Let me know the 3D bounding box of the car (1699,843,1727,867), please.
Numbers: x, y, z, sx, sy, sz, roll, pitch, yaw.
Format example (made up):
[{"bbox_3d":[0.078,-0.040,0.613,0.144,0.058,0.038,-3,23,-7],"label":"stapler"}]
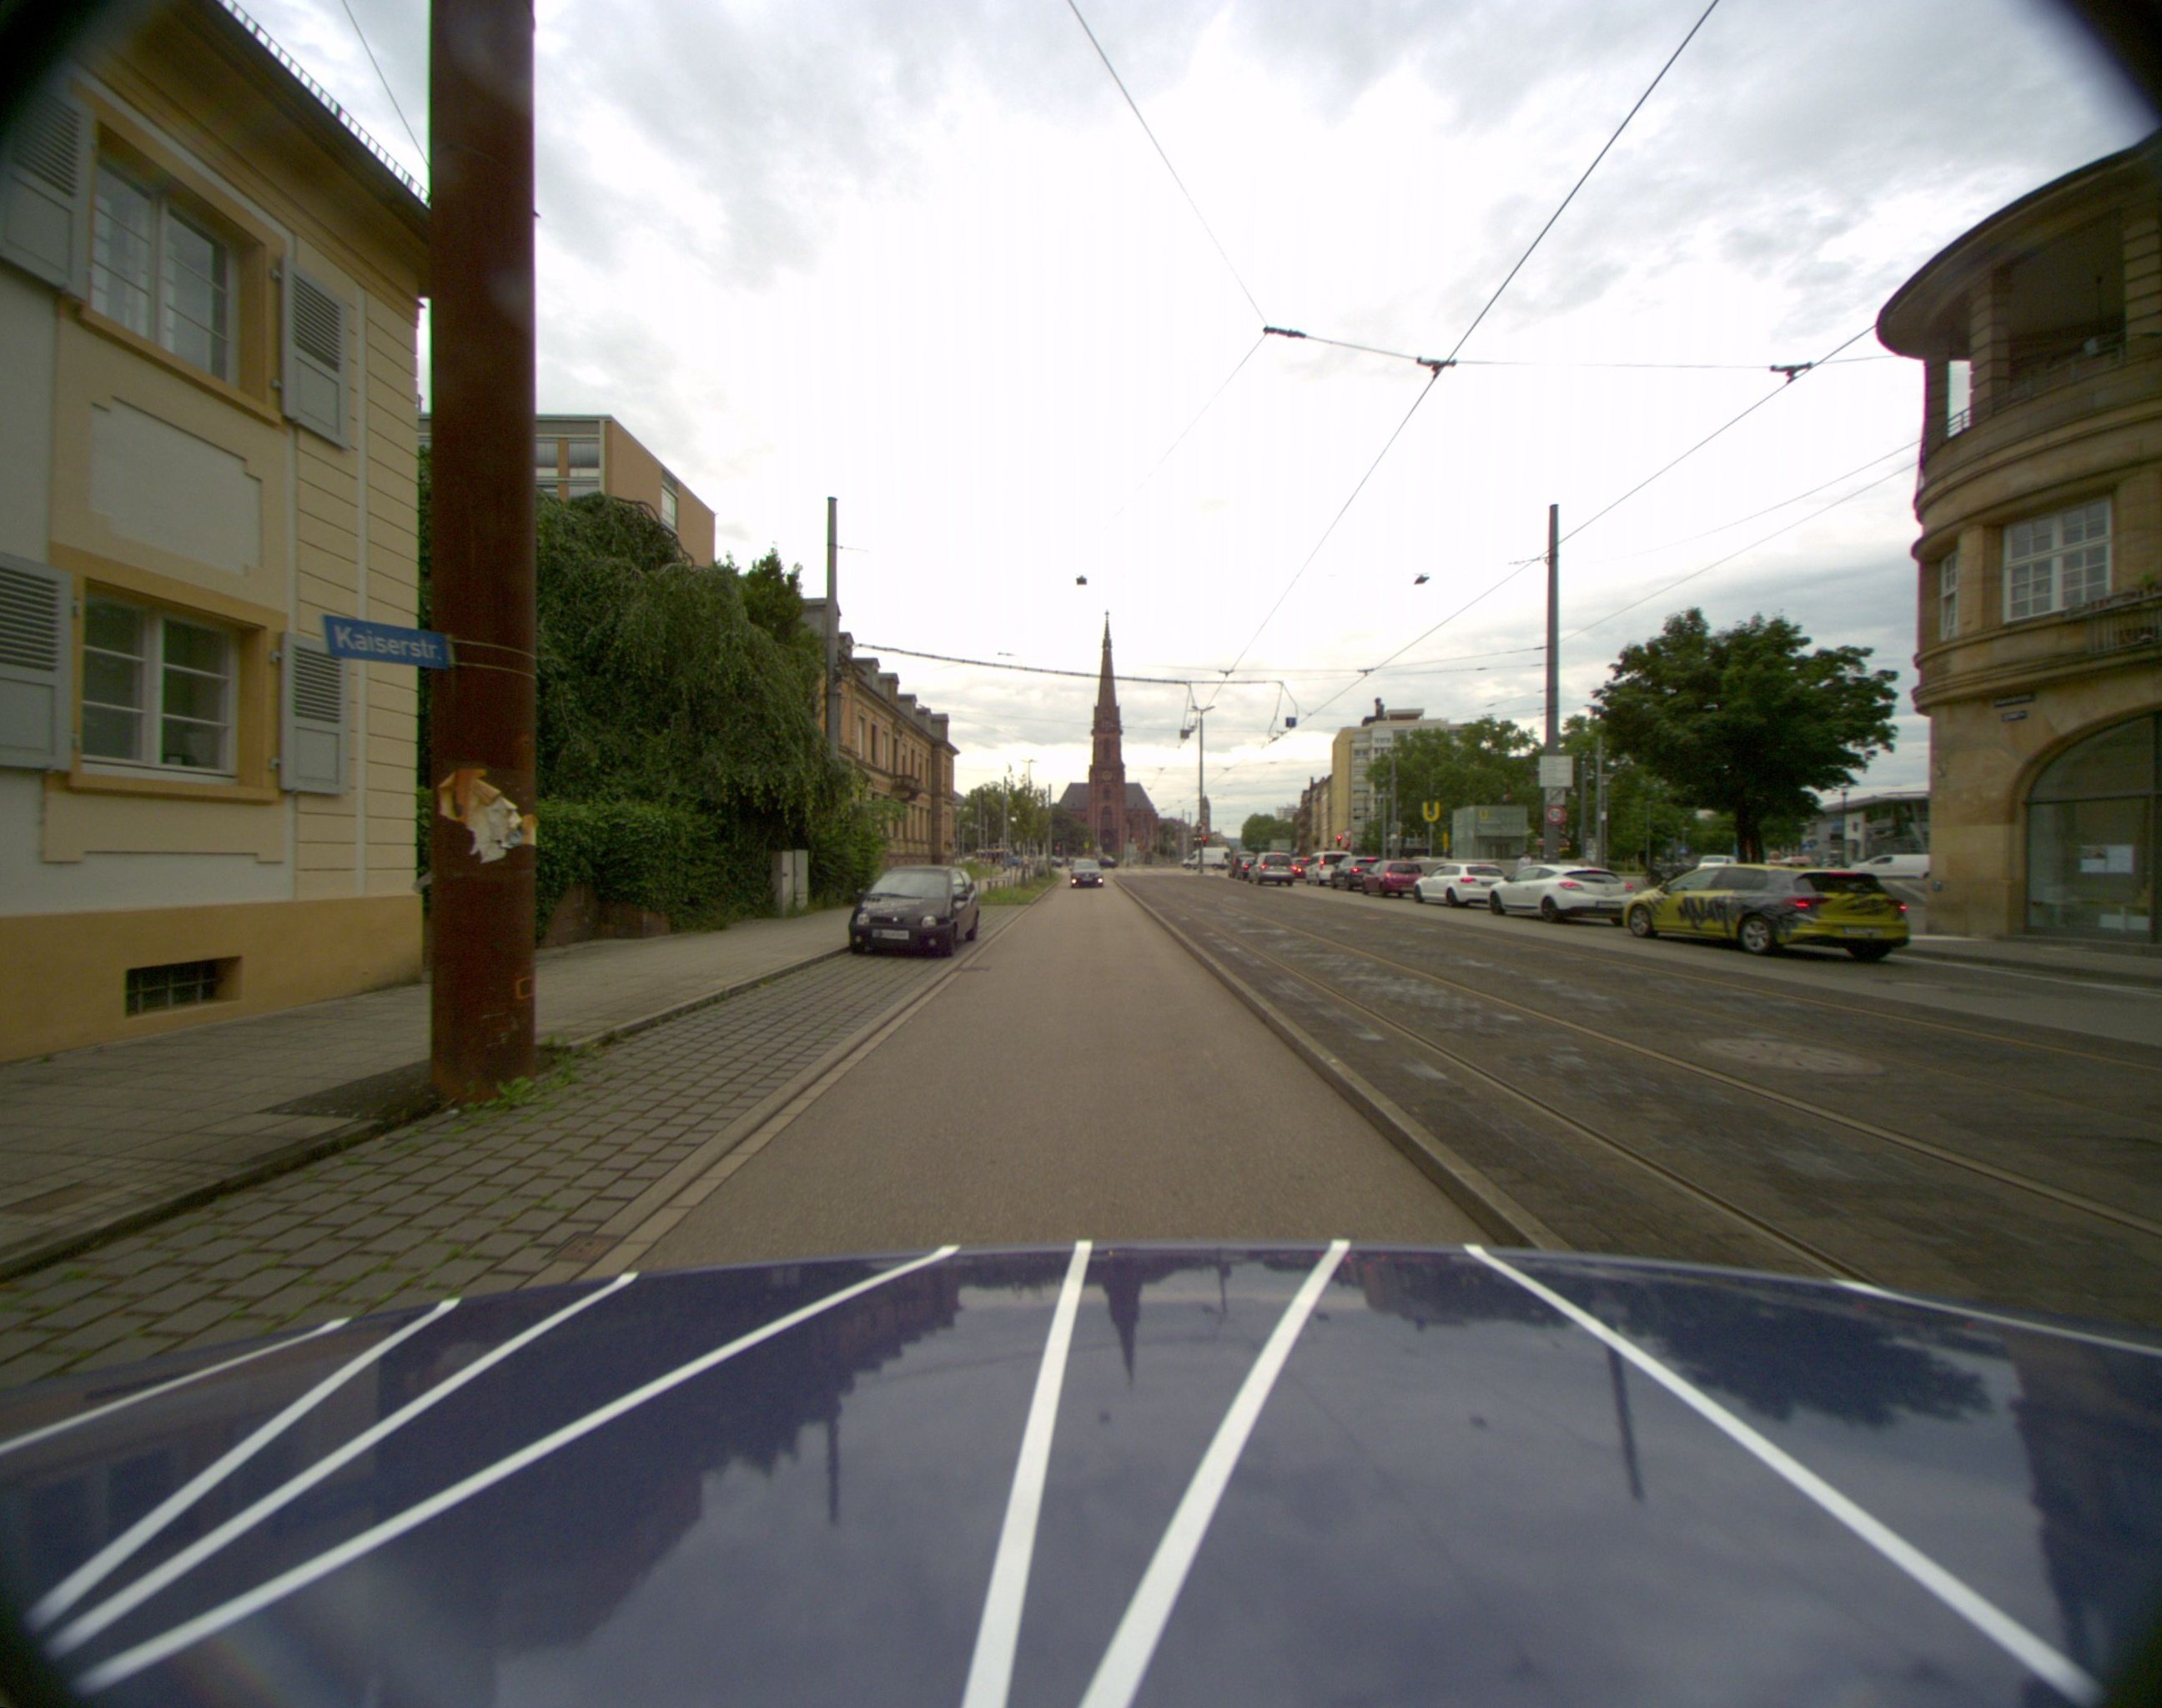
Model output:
[{"bbox_3d":[57.071,0.066,68.615,1.766,2.002,4.008,1,2,42],"label":"car"}]

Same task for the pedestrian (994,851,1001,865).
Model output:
[{"bbox_3d":[-11.701,0.532,106.161,0.782,1.932,0.980,0,0,-22],"label":"pedestrian"}]

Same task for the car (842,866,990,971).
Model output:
[{"bbox_3d":[-2.672,0.980,13.170,1.641,1.425,3.930,2,0,0],"label":"car"}]

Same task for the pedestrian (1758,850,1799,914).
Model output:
[{"bbox_3d":[19.015,0.749,20.717,0.533,1.709,0.631,0,1,-19],"label":"pedestrian"}]

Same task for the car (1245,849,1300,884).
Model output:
[{"bbox_3d":[10.239,0.633,40.997,1.867,1.696,4.909,1,0,2],"label":"car"}]

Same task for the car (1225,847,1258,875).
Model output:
[{"bbox_3d":[11.238,0.476,53.403,1.692,1.889,4.388,0,0,5],"label":"car"}]

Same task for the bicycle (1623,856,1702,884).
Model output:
[{"bbox_3d":[30.181,0.813,39.537,0.962,1.346,3.112,-1,1,-31],"label":"bicycle"}]

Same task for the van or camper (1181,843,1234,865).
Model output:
[{"bbox_3d":[15.561,-0.063,93.807,6.033,2.596,2.428,1,2,38],"label":"van or camper"}]

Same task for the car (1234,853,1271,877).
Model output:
[{"bbox_3d":[10.729,0.659,47.800,1.692,1.433,4.001,0,0,5],"label":"car"}]

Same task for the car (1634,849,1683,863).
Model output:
[{"bbox_3d":[58.705,0.170,77.299,1.644,1.412,3.727,0,0,-42],"label":"car"}]

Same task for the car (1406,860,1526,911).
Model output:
[{"bbox_3d":[12.353,0.952,24.741,1.751,1.372,4.362,3,0,2],"label":"car"}]

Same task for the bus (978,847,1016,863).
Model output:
[{"bbox_3d":[-16.590,0.159,149.013,2.869,3.060,11.989,-1,1,-31],"label":"bus"}]

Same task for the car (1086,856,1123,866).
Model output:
[{"bbox_3d":[3.174,0.912,102.303,4.649,1.412,2.004,0,0,32],"label":"car"}]

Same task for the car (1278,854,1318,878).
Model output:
[{"bbox_3d":[13.669,0.751,48.133,1.692,1.433,4.001,0,0,5],"label":"car"}]

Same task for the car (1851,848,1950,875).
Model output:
[{"bbox_3d":[58.491,0.530,54.294,2.004,1.828,4.511,0,0,-33],"label":"car"}]

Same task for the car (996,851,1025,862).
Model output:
[{"bbox_3d":[-10.573,0.404,113.363,4.047,1.483,2.005,-3,-5,41],"label":"car"}]

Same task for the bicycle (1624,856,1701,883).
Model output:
[{"bbox_3d":[31.089,0.787,40.708,0.962,1.346,3.112,-1,1,-31],"label":"bicycle"}]

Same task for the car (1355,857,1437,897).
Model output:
[{"bbox_3d":[12.443,0.875,30.279,1.867,1.391,3.896,2,0,4],"label":"car"}]

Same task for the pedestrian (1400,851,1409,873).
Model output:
[{"bbox_3d":[25.387,0.636,59.698,0.601,1.718,0.914,0,0,26],"label":"pedestrian"}]

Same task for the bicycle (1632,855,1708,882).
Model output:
[{"bbox_3d":[32.124,0.766,41.522,0.962,1.346,3.112,-1,1,-31],"label":"bicycle"}]

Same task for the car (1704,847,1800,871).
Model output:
[{"bbox_3d":[53.733,0.398,60.972,2.168,1.845,5.433,0,0,-35],"label":"car"}]

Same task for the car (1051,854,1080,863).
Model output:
[{"bbox_3d":[-2.188,0.636,107.830,3.729,1.239,1.694,0,0,17],"label":"car"}]

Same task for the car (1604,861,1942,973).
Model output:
[{"bbox_3d":[11.279,0.909,12.935,1.903,1.502,4.429,1,0,4],"label":"car"}]

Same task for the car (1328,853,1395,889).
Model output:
[{"bbox_3d":[13.049,0.752,35.635,1.867,1.525,4.304,2,0,5],"label":"car"}]

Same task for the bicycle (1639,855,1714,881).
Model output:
[{"bbox_3d":[33.053,0.747,42.231,0.962,1.346,3.112,-1,1,-31],"label":"bicycle"}]

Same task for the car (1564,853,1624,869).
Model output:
[{"bbox_3d":[46.533,0.635,69.014,1.644,1.412,4.258,0,0,-42],"label":"car"}]

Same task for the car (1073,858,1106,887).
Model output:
[{"bbox_3d":[0.406,0.941,39.804,1.655,1.404,4.000,0,0,-1],"label":"car"}]

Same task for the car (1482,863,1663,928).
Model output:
[{"bbox_3d":[11.912,0.941,18.803,1.931,1.372,4.259,0,0,4],"label":"car"}]

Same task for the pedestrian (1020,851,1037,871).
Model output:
[{"bbox_3d":[-4.951,0.661,71.434,1.283,1.856,0.889,0,0,34],"label":"pedestrian"}]

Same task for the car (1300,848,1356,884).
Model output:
[{"bbox_3d":[13.640,0.616,42.212,1.867,1.905,5.103,0,0,5],"label":"car"}]
